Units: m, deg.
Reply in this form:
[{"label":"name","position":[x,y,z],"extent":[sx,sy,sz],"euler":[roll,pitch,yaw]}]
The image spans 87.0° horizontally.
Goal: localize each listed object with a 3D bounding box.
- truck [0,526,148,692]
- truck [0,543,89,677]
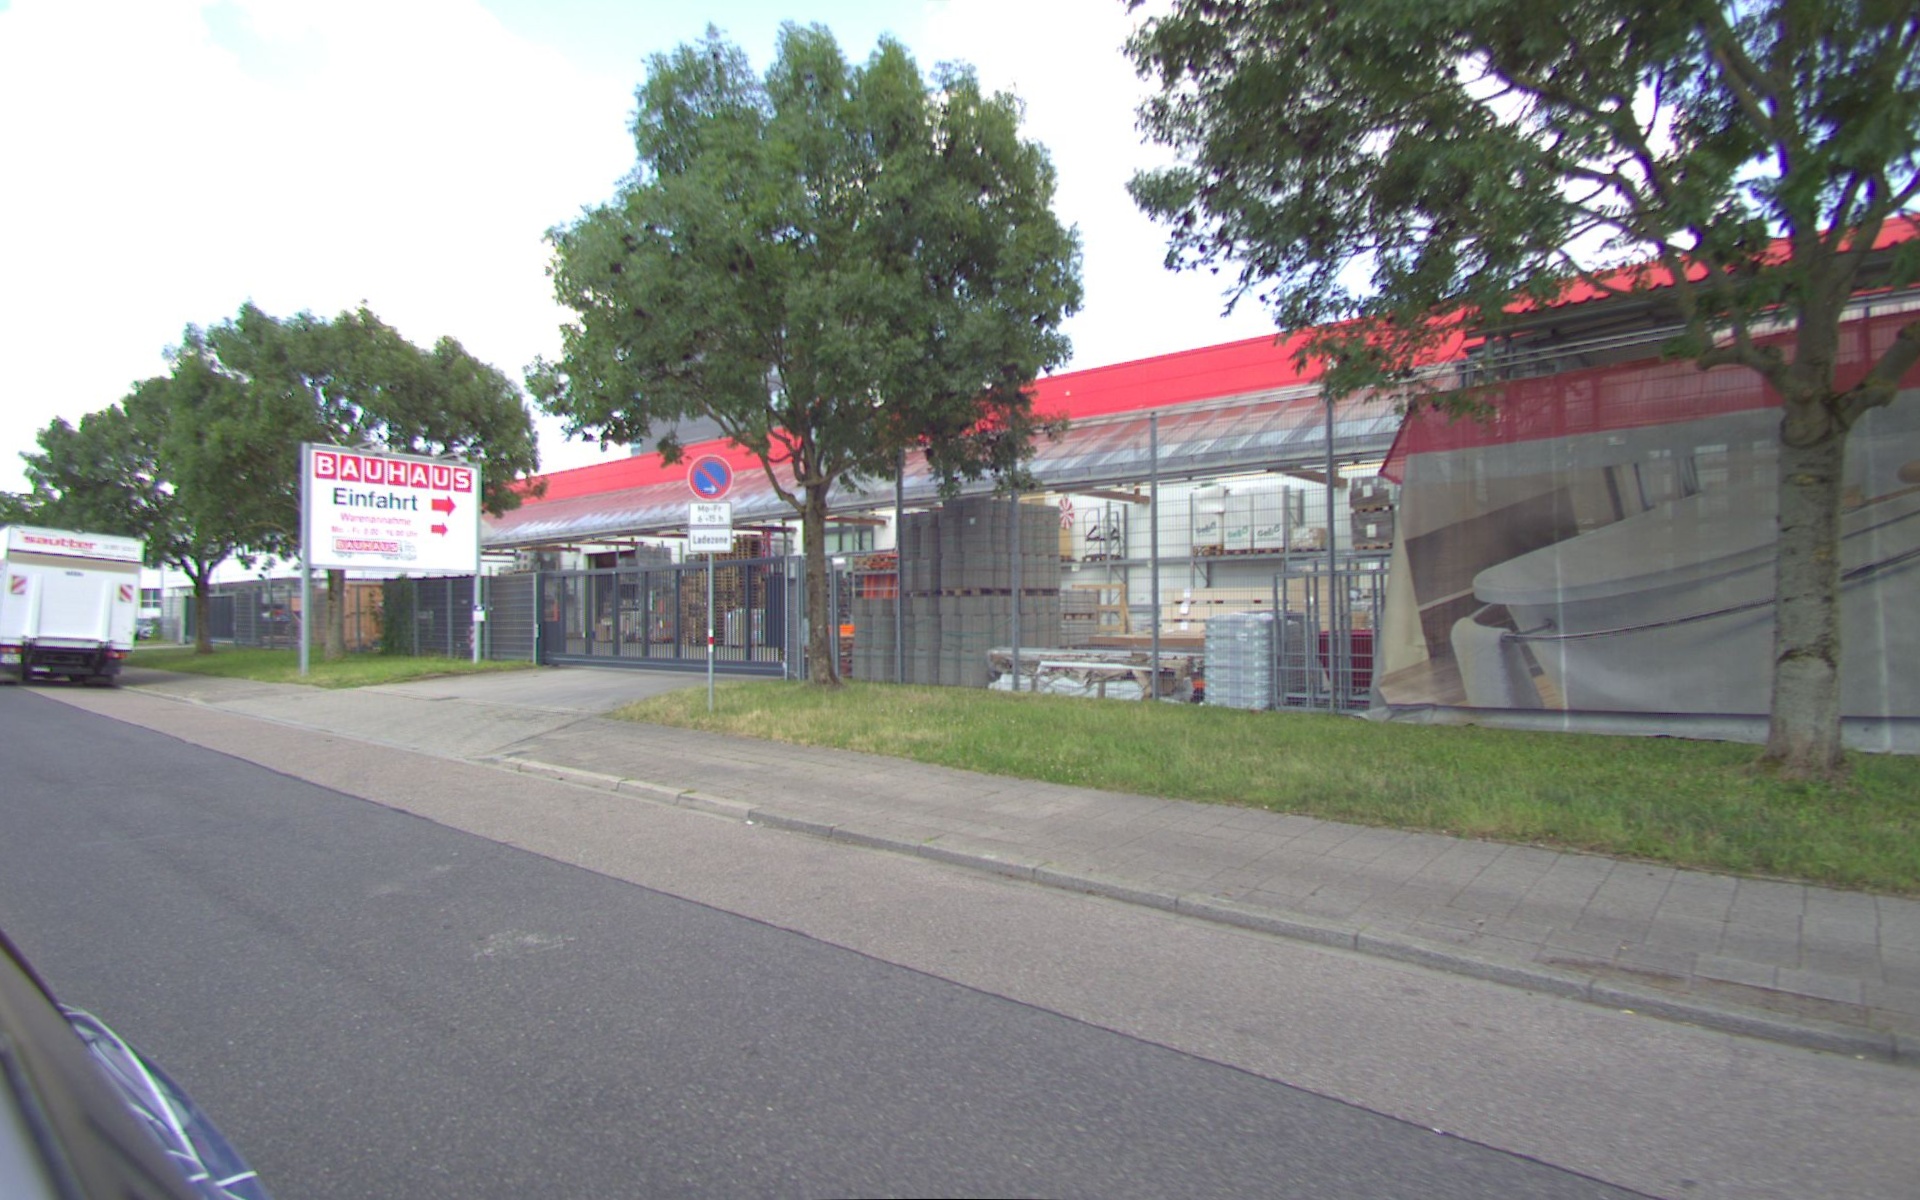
[{"label":"truck","position":[-23.510,0.259,26.076],"extent":[7.168,3.751,2.719],"euler":[0,-2,41]},{"label":"truck","position":[-29.841,0.354,31.729],"extent":[7.167,3.838,2.719],"euler":[-1,-3,41]}]
